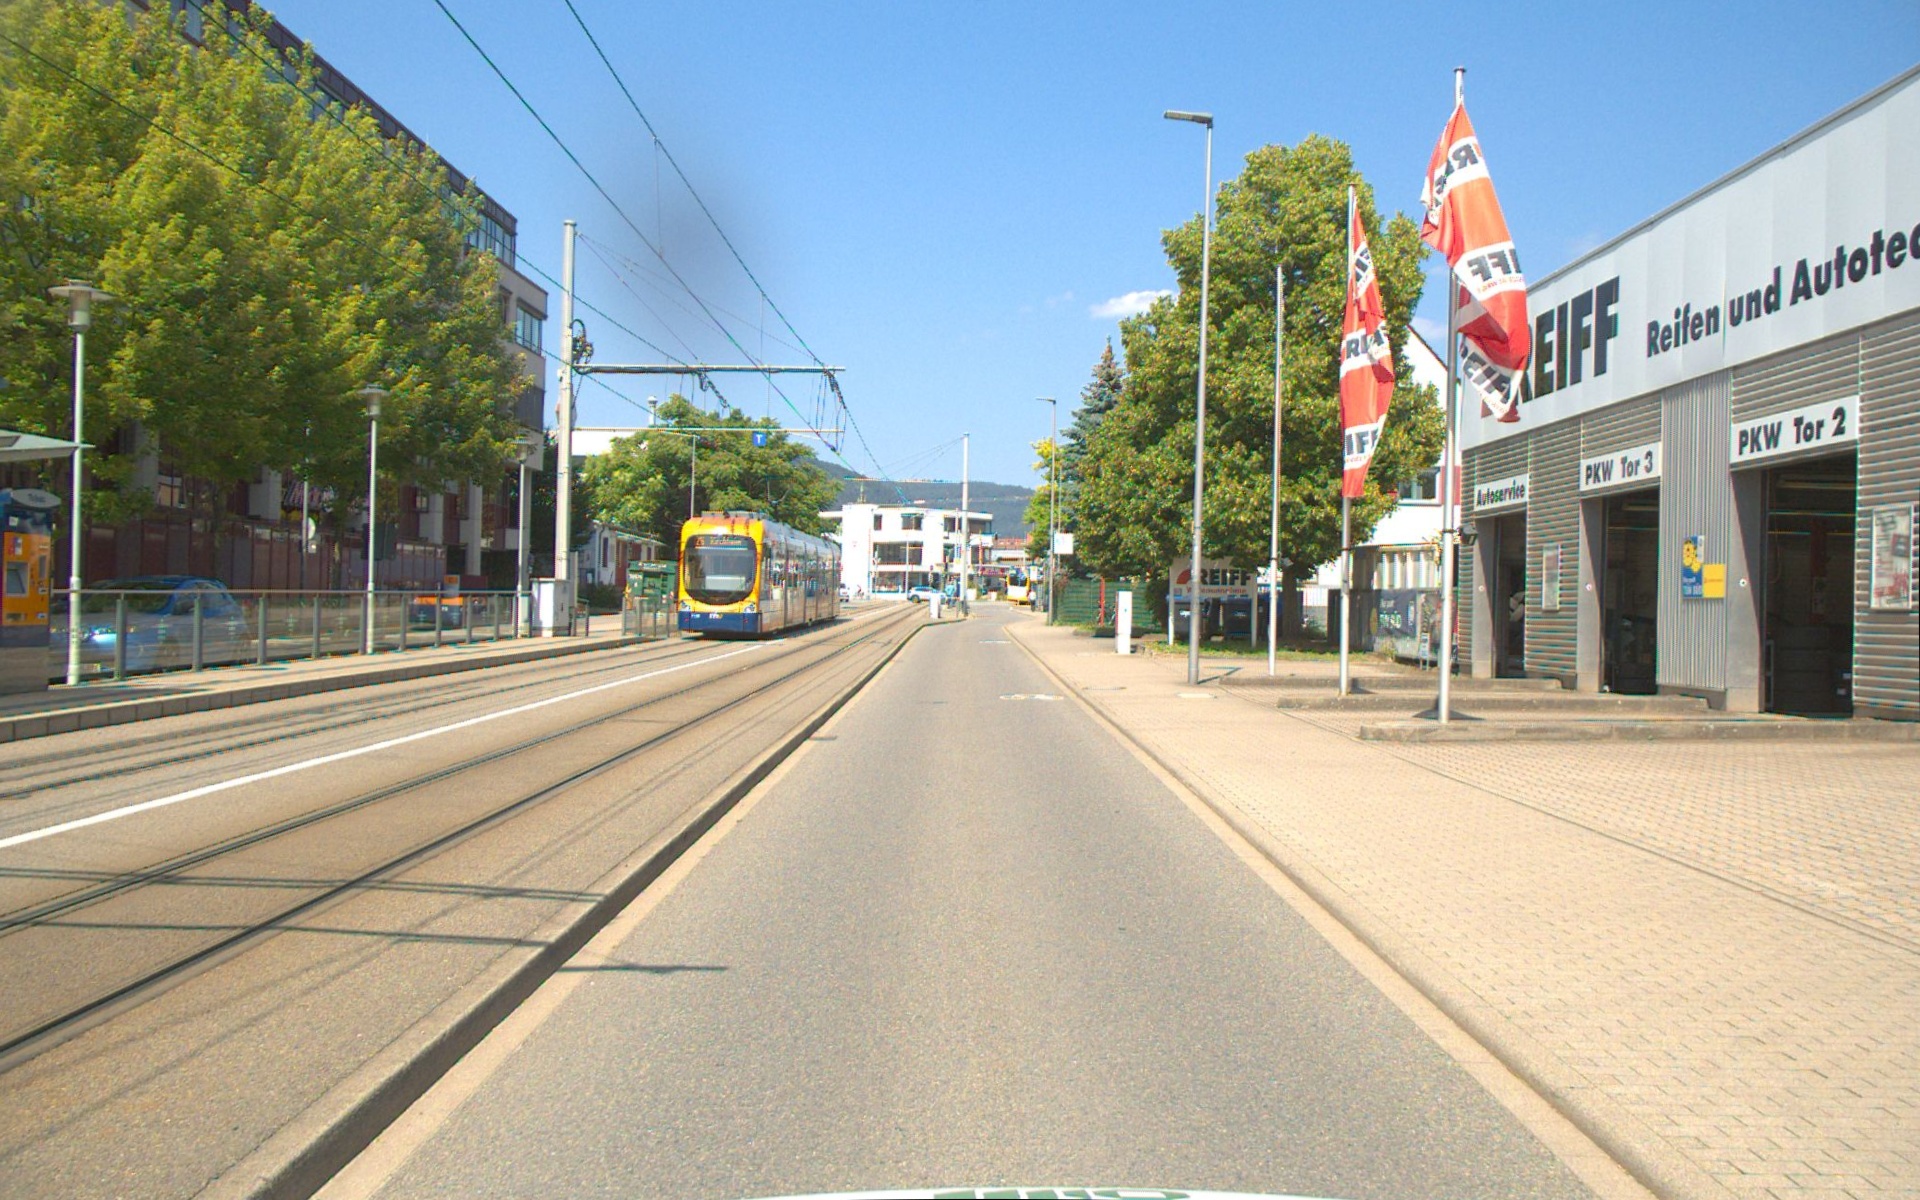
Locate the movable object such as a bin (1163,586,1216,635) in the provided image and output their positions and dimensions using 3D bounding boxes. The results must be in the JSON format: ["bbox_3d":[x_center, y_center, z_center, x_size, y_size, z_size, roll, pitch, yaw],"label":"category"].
[{"bbox_3d":[7.036,0.326,50.758,1.357,1.455,0.990,1,-2,25],"label":"movable object such as a bin"}]

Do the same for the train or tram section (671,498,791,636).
[{"bbox_3d":[-6.298,-0.874,46.263,2.558,3.594,5.742,1,0,0],"label":"train or tram section"}]

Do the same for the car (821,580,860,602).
[{"bbox_3d":[-11.850,-0.887,164.001,1.827,1.971,3.990,3,2,32],"label":"car"}]

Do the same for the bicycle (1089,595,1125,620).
[{"bbox_3d":[6.061,0.325,68.335,1.441,1.008,0.388,1,-3,-1],"label":"bicycle"}]

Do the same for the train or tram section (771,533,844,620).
[{"bbox_3d":[-6.401,-0.983,70.348,2.527,3.507,6.362,1,0,0],"label":"train or tram section"}]

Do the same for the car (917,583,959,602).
[{"bbox_3d":[-2.198,-0.715,164.892,3.902,1.780,1.777,1,0,14],"label":"car"}]

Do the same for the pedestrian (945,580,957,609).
[{"bbox_3d":[-0.529,-0.326,101.445,0.728,1.771,0.727,0,0,0],"label":"pedestrian"}]

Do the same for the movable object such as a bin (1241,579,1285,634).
[{"bbox_3d":[8.861,0.198,48.426,0.958,1.574,1.320,2,-2,-4],"label":"movable object such as a bin"}]

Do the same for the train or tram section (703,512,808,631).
[{"bbox_3d":[-6.343,-0.863,52.055,2.558,3.507,5.843,1,0,0],"label":"train or tram section"}]

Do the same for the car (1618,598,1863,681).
[{"bbox_3d":[14.190,0.708,30.183,3.688,1.400,1.723,1,0,-5],"label":"car"}]

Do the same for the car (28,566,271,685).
[{"bbox_3d":[-12.136,0.346,25.079,1.688,1.612,4.071,-1,0,-1],"label":"car"}]

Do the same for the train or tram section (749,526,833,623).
[{"bbox_3d":[-6.407,-0.952,63.584,2.527,3.507,7.136,1,0,0],"label":"train or tram section"}]

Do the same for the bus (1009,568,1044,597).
[{"bbox_3d":[7.018,-1.832,174.137,2.384,2.930,8.800,1,0,11],"label":"bus"}]

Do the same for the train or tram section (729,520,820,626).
[{"bbox_3d":[-6.379,-0.909,57.491,2.558,3.507,5.010,1,0,0],"label":"train or tram section"}]

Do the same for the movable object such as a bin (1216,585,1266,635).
[{"bbox_3d":[8.507,0.301,50.111,1.290,1.455,0.884,1,-2,25],"label":"movable object such as a bin"}]

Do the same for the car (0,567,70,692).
[{"bbox_3d":[-12.353,0.360,19.276,1.687,1.498,4.279,0,0,-1],"label":"car"}]
